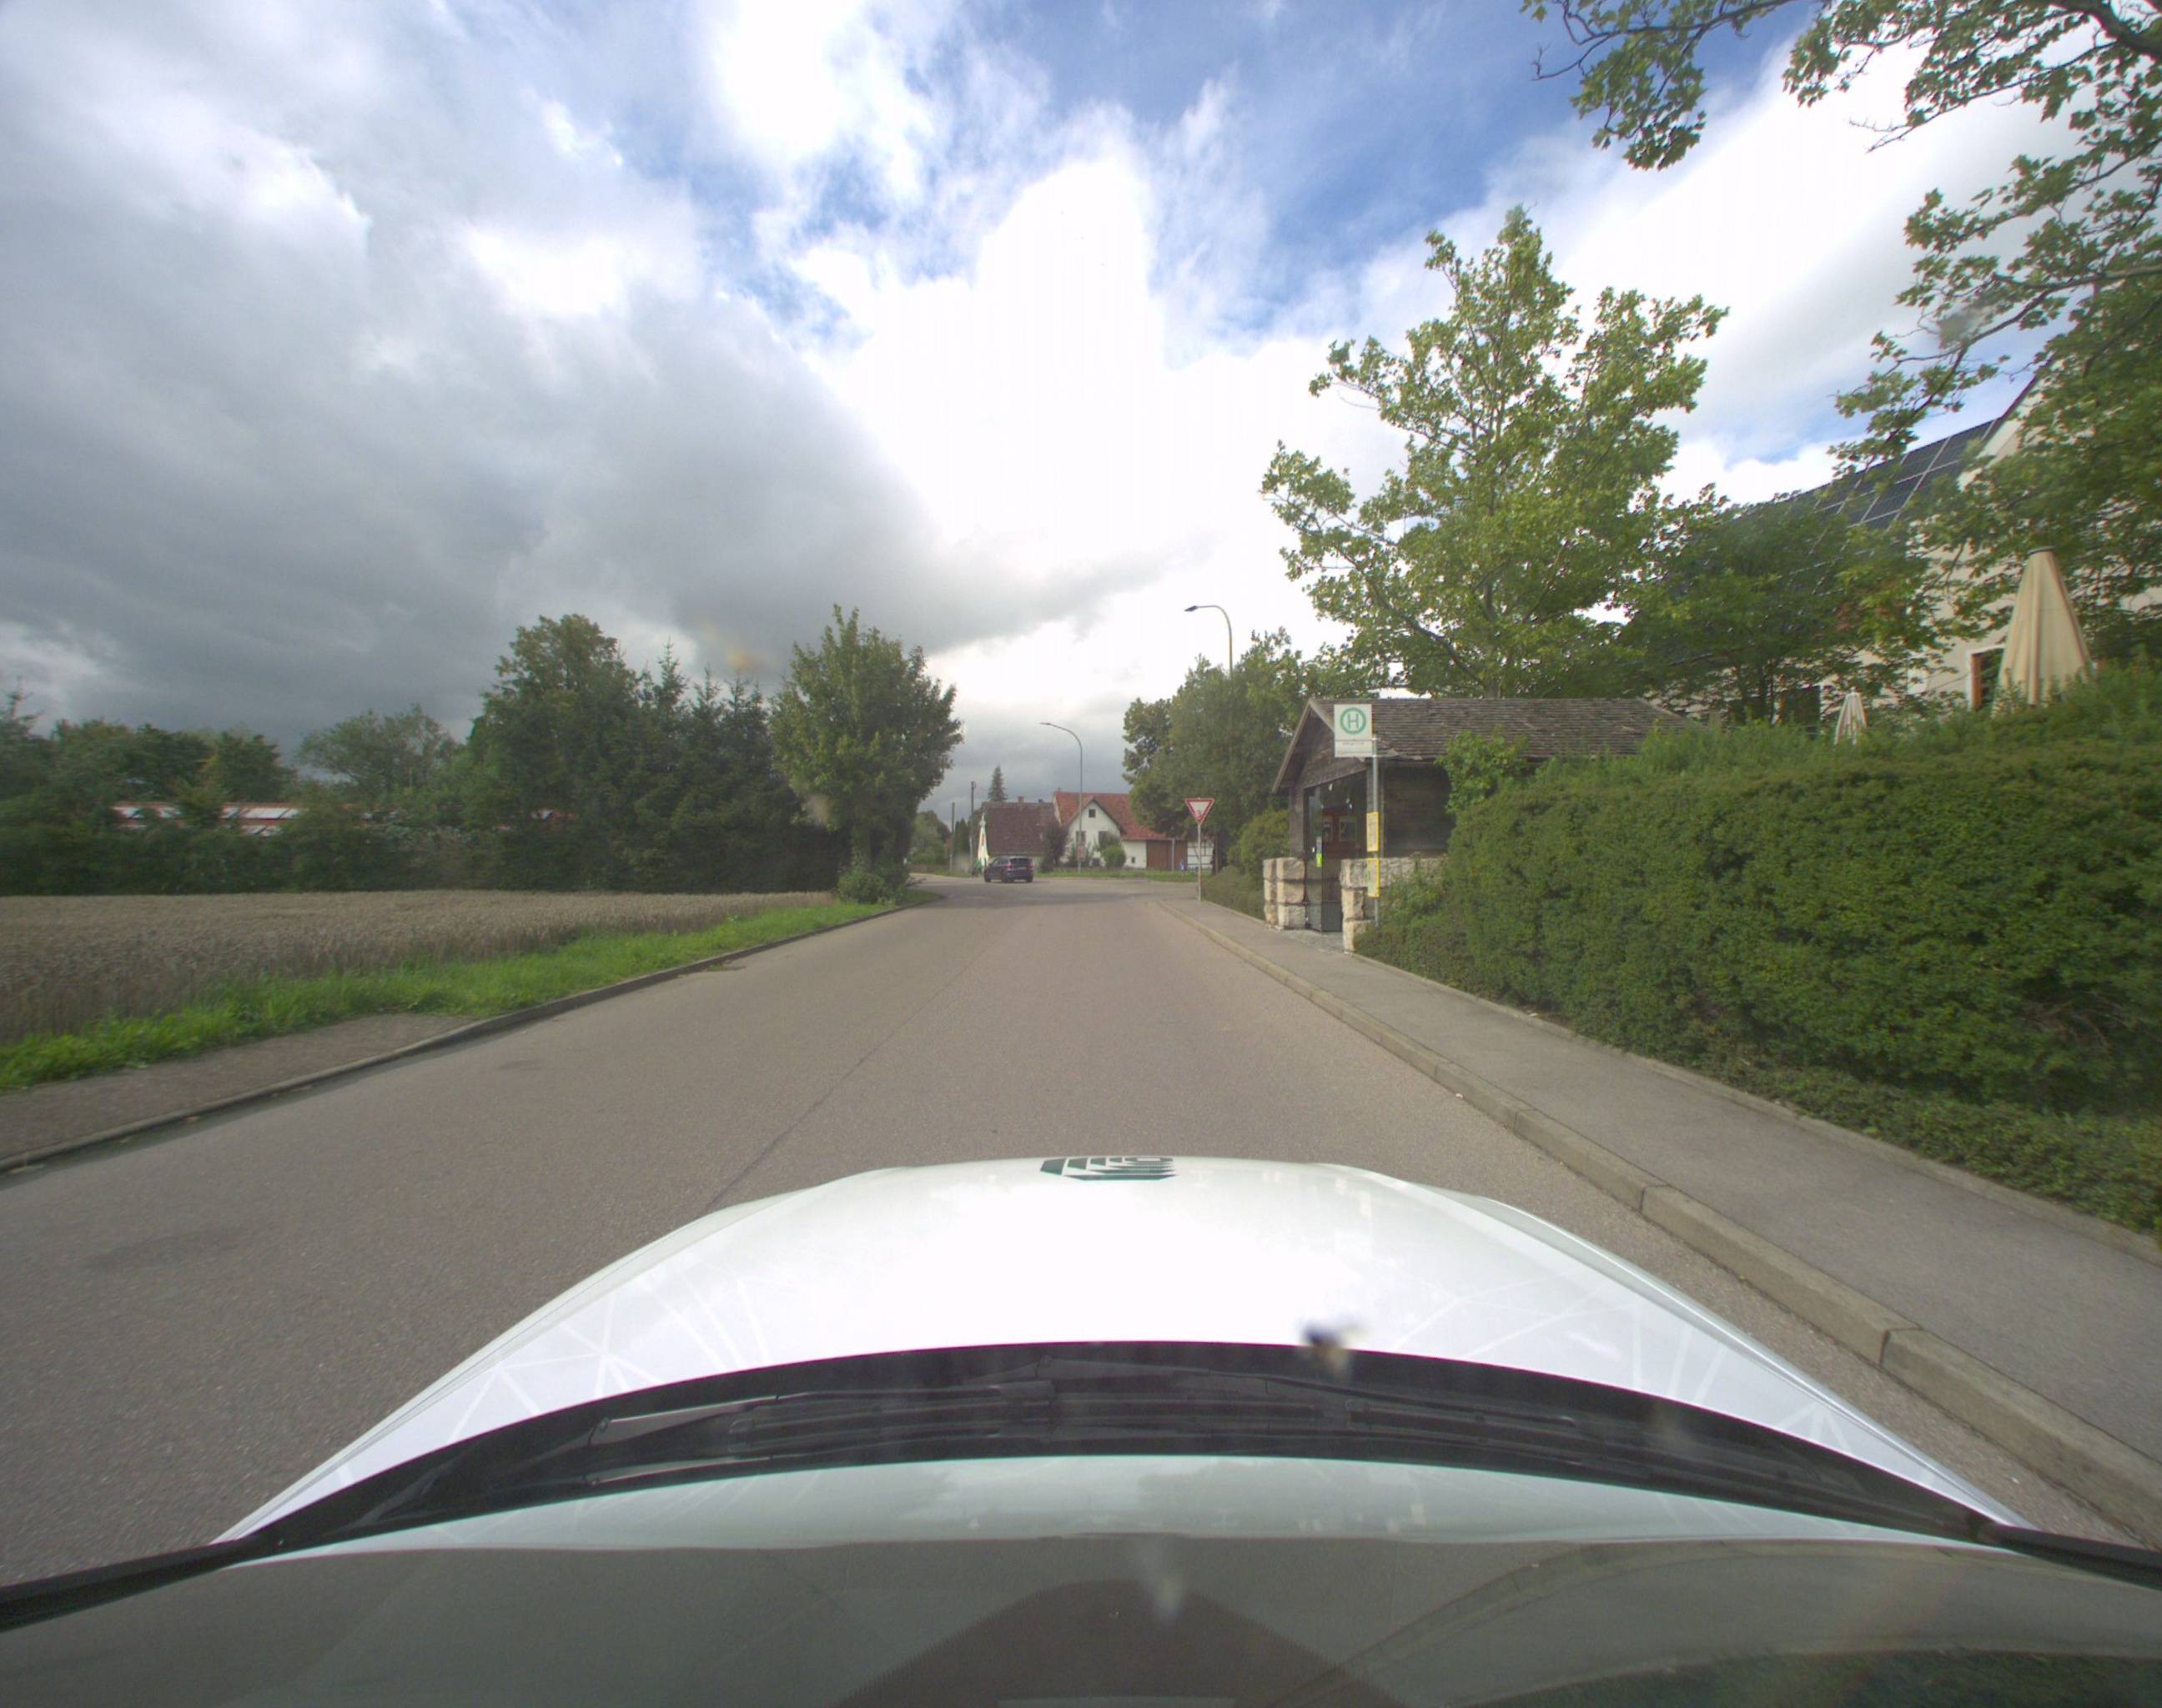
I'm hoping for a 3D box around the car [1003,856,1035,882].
[{"bbox_3d":[-3.625,0.870,48.148,1.795,1.462,3.657,0,0,-3],"label":"car"}]

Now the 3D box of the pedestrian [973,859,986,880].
[{"bbox_3d":[-8.239,1.281,66.103,0.794,1.665,0.705,5,-3,-32],"label":"pedestrian"}]

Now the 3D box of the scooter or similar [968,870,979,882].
[{"bbox_3d":[-8.799,1.797,66.577,0.635,0.948,0.616,5,-3,-32],"label":"scooter or similar"}]
